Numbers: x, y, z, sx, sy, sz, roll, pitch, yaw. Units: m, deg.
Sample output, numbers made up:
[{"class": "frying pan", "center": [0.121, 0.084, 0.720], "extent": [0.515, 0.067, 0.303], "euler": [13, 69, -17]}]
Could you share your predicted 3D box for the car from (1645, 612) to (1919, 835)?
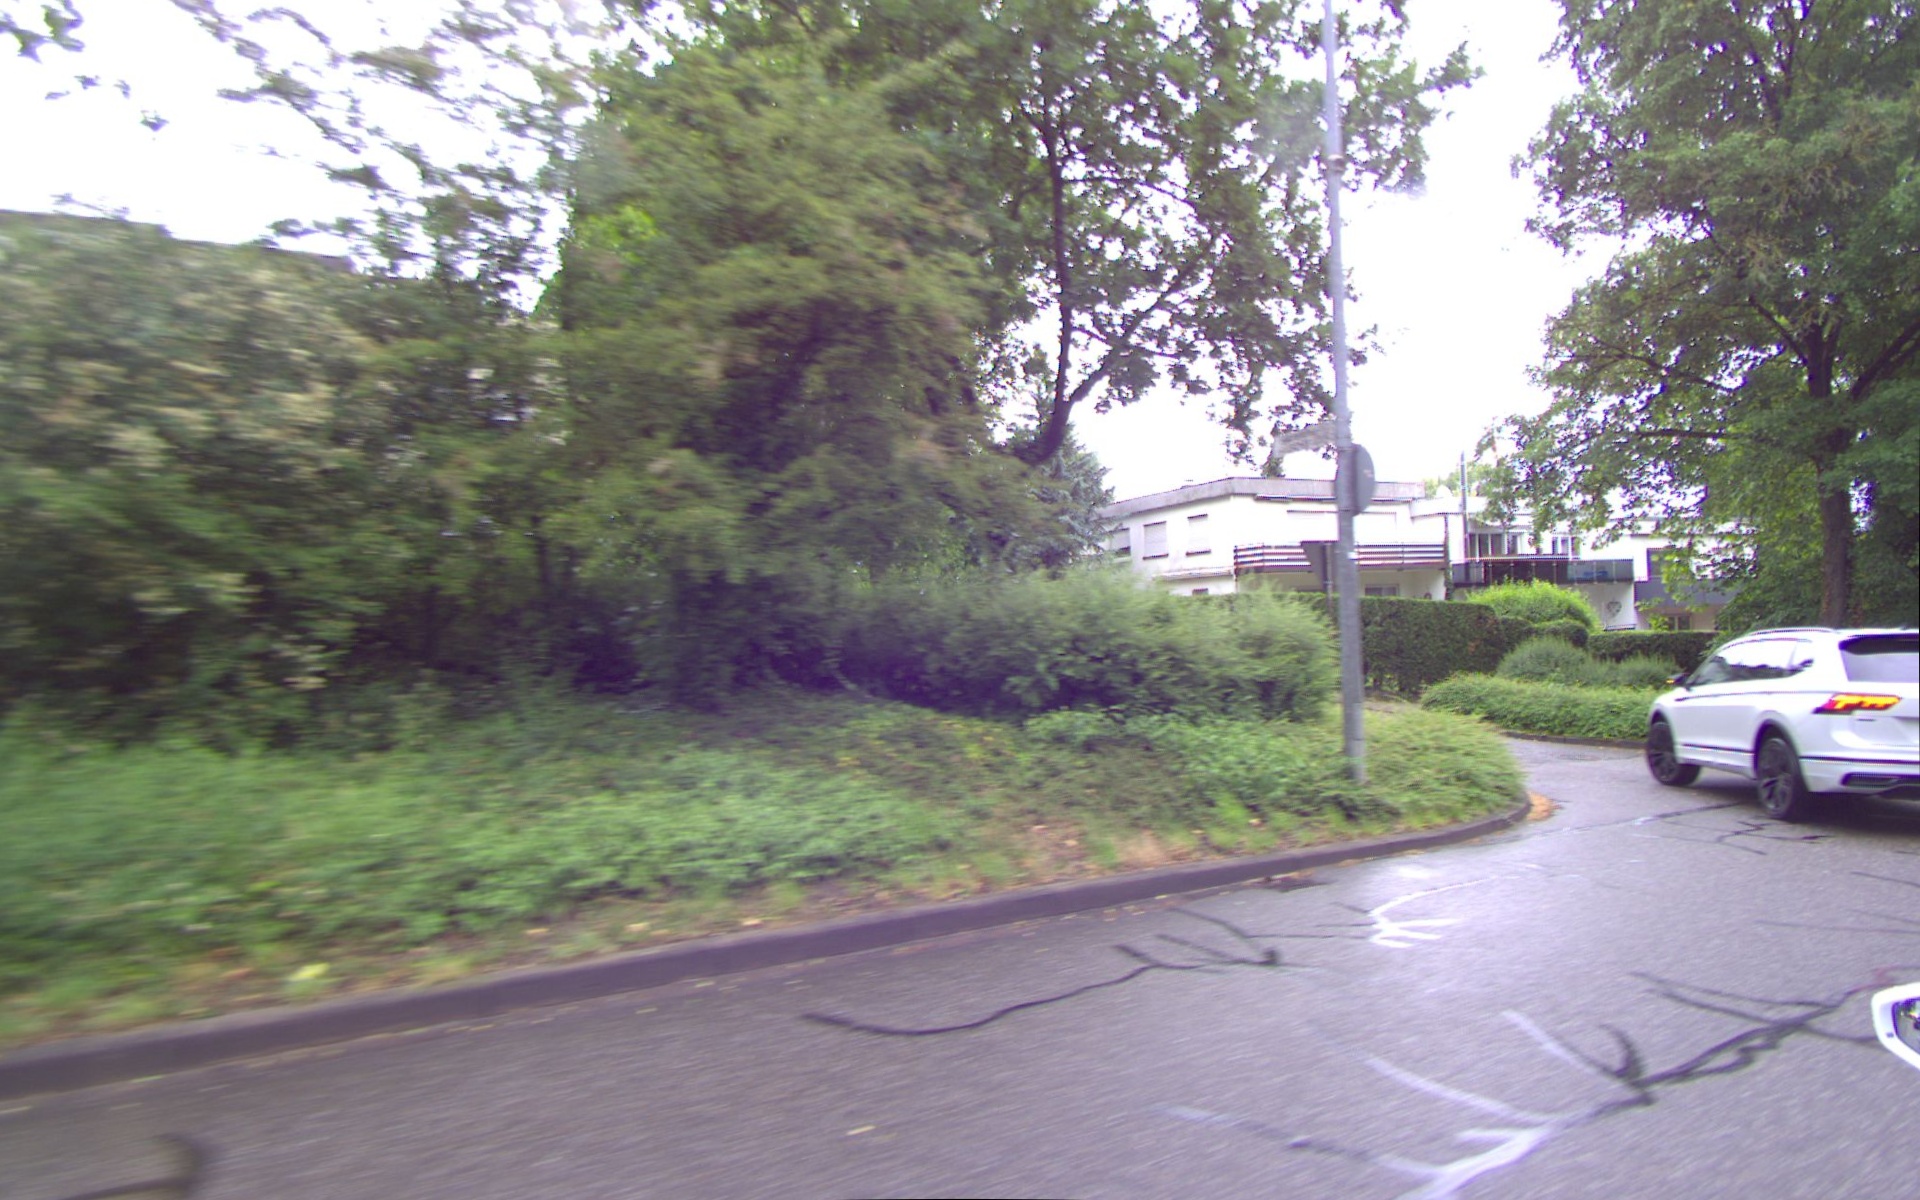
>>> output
[{"class": "car", "center": [8.294, 1.058, 9.605], "extent": [1.874, 1.707, 4.201], "euler": [-1, -4, 20]}]
